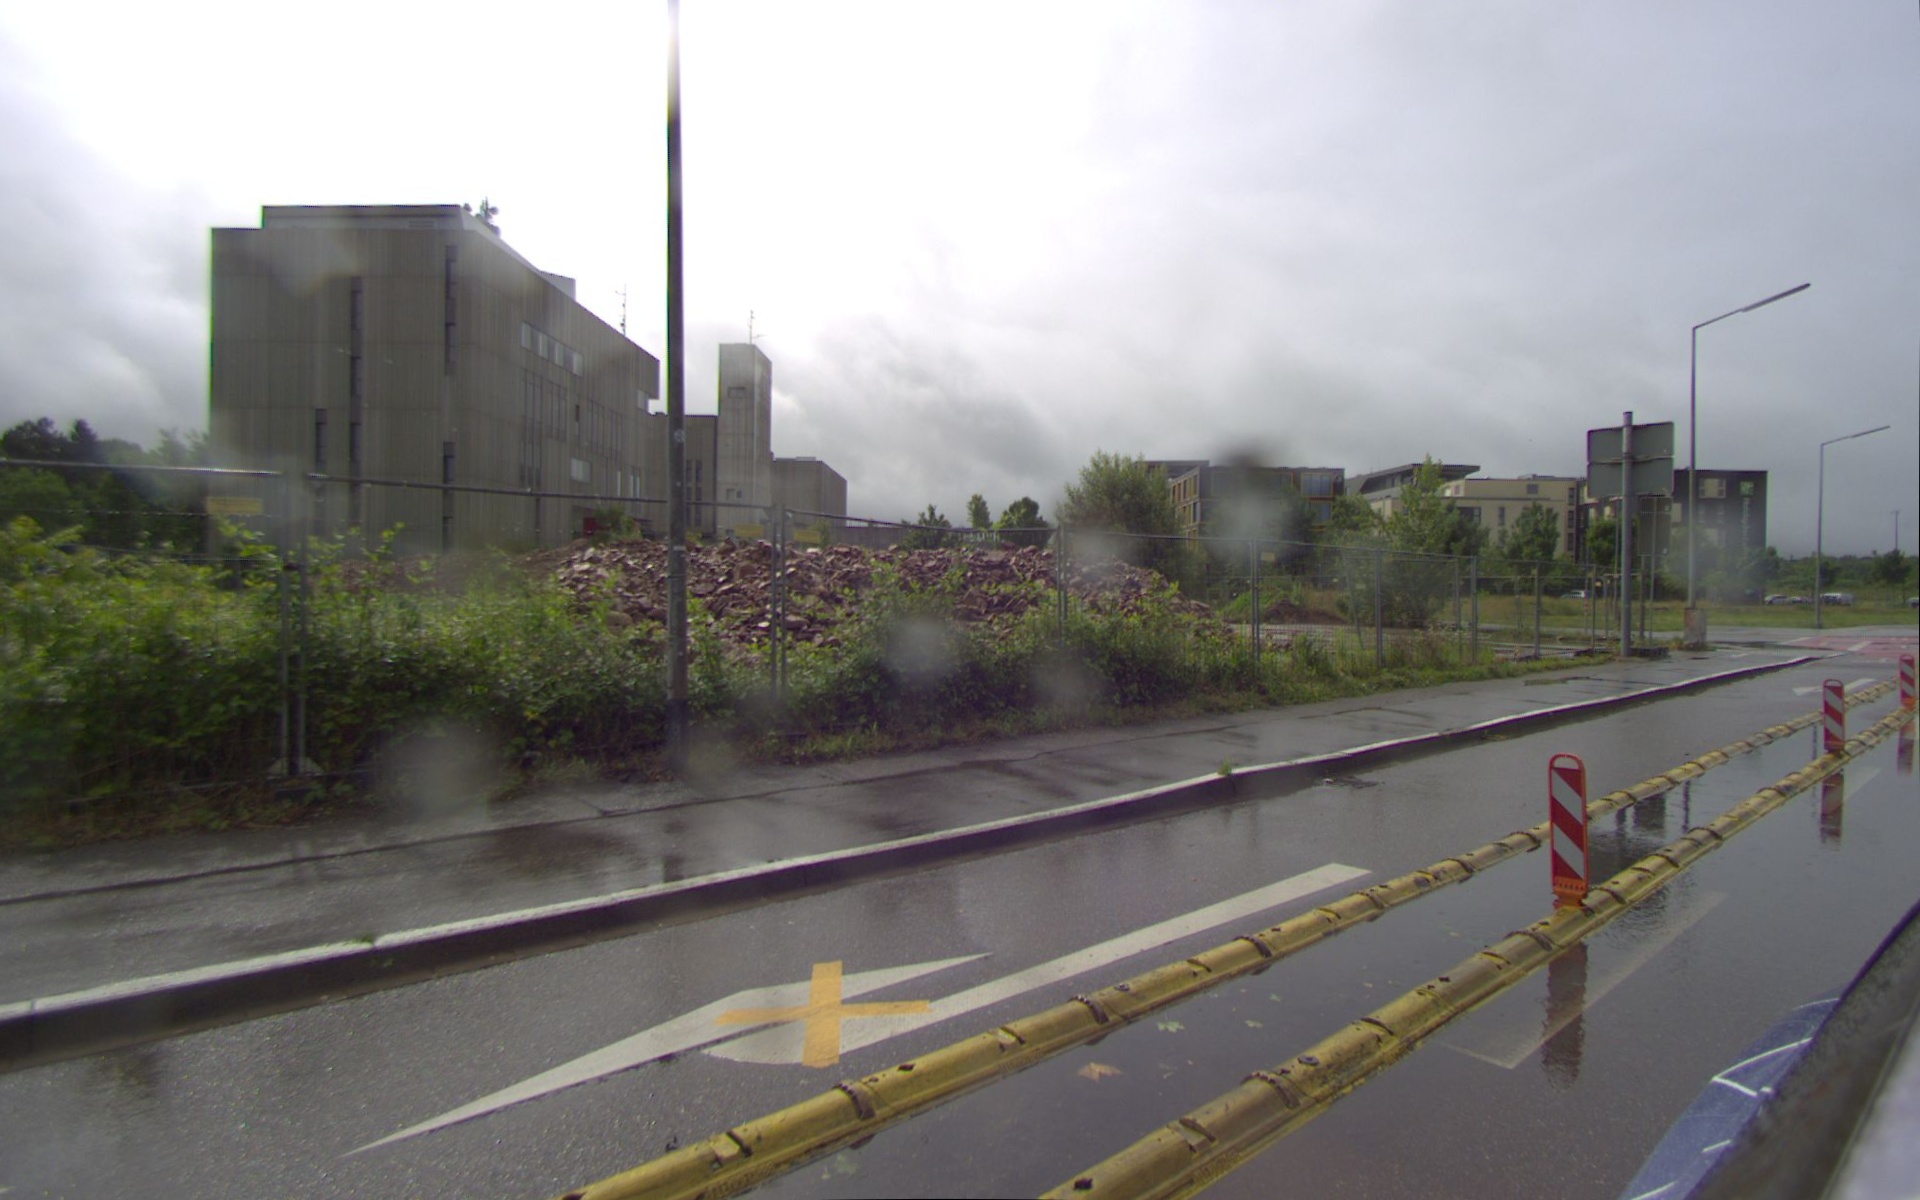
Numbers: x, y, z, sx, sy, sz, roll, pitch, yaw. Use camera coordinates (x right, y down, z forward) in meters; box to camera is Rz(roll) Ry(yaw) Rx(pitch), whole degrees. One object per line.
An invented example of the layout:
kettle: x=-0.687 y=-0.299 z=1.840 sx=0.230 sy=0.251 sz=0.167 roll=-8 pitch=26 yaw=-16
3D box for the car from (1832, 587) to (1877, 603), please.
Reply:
car: x=118.050 y=-0.716 z=133.567 sx=3.929 sy=2.039 sz=1.997 roll=1 pitch=0 yaw=5

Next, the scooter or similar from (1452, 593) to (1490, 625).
scooter or similar: x=19.477 y=0.342 z=38.575 sx=0.731 sy=1.164 sz=1.197 roll=1 pitch=1 yaw=-8

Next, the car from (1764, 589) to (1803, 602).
car: x=107.515 y=-0.618 z=132.164 sx=3.589 sy=1.631 sz=1.596 roll=1 pitch=0 yaw=9

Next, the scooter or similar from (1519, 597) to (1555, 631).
scooter or similar: x=20.451 y=0.486 z=35.878 sx=0.473 sy=1.164 sz=1.197 roll=1 pitch=1 yaw=-8

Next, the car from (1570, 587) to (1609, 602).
car: x=69.090 y=-0.599 z=111.045 sx=3.591 sy=1.603 sz=1.652 roll=0 pitch=0 yaw=-18
